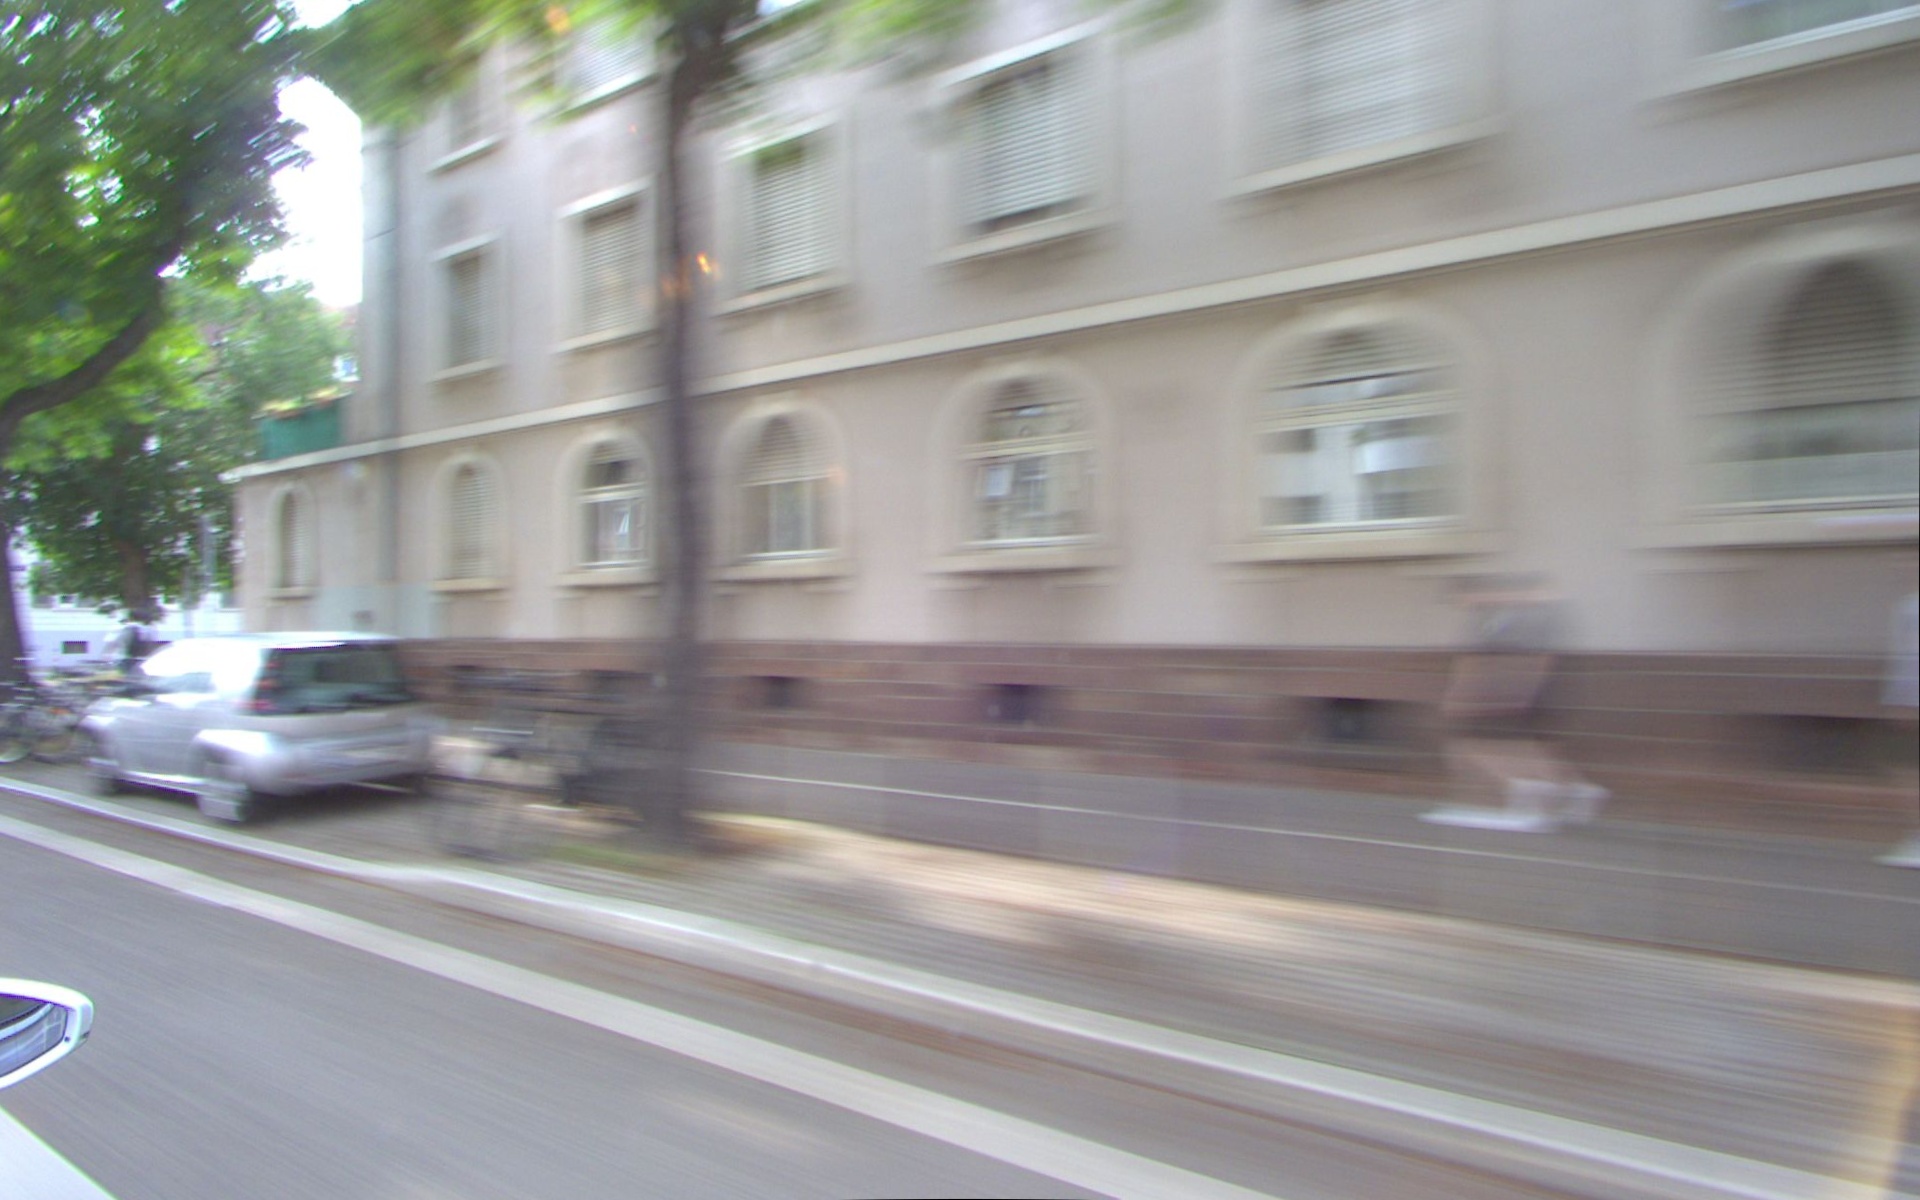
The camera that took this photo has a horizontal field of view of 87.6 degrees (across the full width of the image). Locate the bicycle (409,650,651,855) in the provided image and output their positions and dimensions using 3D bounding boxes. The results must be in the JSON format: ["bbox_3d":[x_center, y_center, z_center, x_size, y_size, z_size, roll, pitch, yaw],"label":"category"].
[{"bbox_3d":[-2.928,0.983,6.939,0.512,1.236,1.482,-1,-2,39],"label":"bicycle"}]

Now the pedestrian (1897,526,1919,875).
[{"bbox_3d":[5.550,0.541,5.367,0.677,1.876,0.503,0,-1,32],"label":"pedestrian"}]

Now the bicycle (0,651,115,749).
[{"bbox_3d":[-10.907,1.151,11.622,0.344,1.084,1.642,0,-1,36],"label":"bicycle"}]

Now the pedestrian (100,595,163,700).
[{"bbox_3d":[-15.121,0.856,18.279,1.016,1.857,0.616,0,-1,34],"label":"pedestrian"}]

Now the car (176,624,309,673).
[{"bbox_3d":[-24.428,1.625,34.247,3.569,1.518,1.720,1,1,-31],"label":"car"}]

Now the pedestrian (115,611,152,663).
[{"bbox_3d":[-31.918,1.420,38.684,0.964,1.961,0.897,1,-2,-31],"label":"pedestrian"}]

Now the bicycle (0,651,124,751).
[{"bbox_3d":[-10.612,1.140,11.397,0.344,1.084,1.642,0,-1,36],"label":"bicycle"}]

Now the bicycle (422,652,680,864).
[{"bbox_3d":[-2.578,0.940,6.446,0.512,1.168,1.482,0,-1,39],"label":"bicycle"}]

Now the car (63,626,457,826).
[{"bbox_3d":[-6.419,0.971,9.081,3.842,1.463,1.582,-1,-1,32],"label":"car"}]

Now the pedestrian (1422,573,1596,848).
[{"bbox_3d":[3.593,0.680,6.568,0.962,1.661,0.579,0,-1,32],"label":"pedestrian"}]

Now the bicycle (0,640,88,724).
[{"bbox_3d":[-13.855,1.190,14.753,1.802,1.173,0.586,0,-1,14],"label":"bicycle"}]

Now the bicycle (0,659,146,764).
[{"bbox_3d":[-10.206,1.229,11.227,0.344,1.084,1.642,0,-1,35],"label":"bicycle"}]
